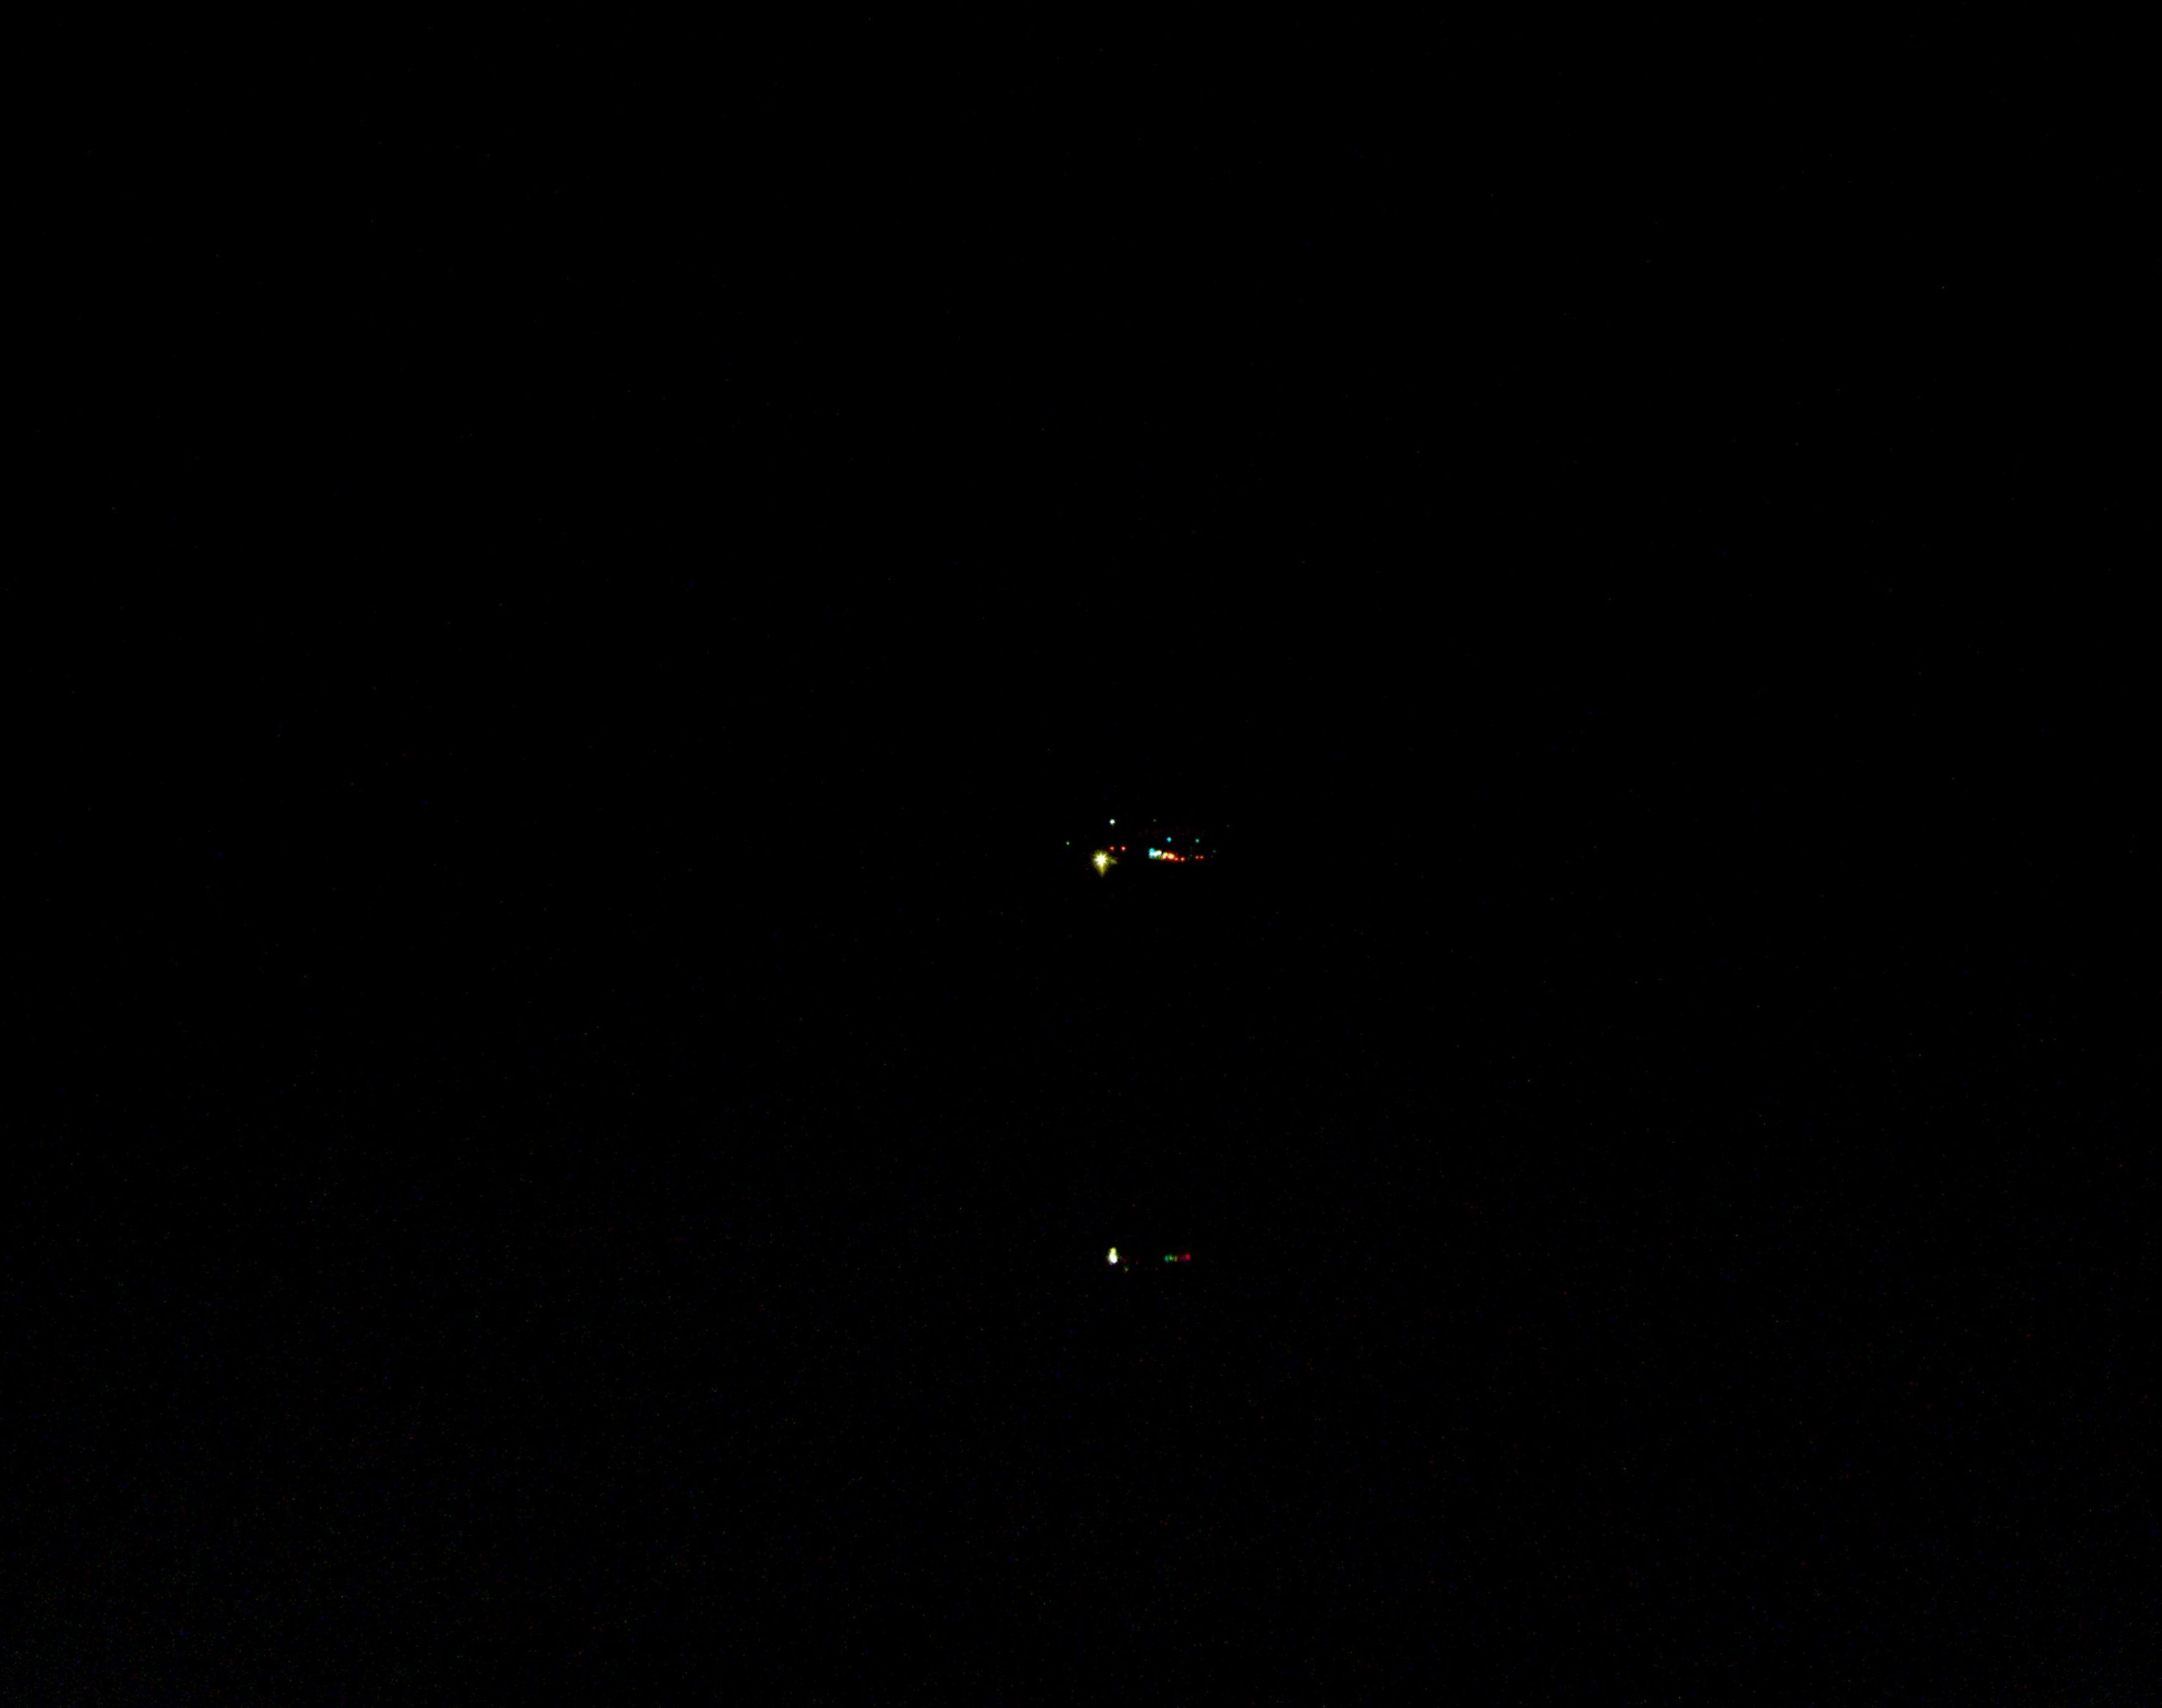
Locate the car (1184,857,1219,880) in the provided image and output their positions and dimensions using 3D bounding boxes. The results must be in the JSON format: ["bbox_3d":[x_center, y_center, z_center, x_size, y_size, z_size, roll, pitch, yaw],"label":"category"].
[{"bbox_3d":[8.185,0.951,52.042,1.724,1.399,4.574,-2,1,1],"label":"car"}]

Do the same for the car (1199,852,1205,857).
[{"bbox_3d":[34.644,0.172,217.716,1.655,1.467,4.003,-2,1,11],"label":"car"}]

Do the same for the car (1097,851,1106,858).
[{"bbox_3d":[4.006,0.018,148.738,1.570,1.336,4.166,-2,0,1],"label":"car"}]

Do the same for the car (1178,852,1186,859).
[{"bbox_3d":[23.086,0.395,174.130,1.723,1.438,4.384,-2,1,9],"label":"car"}]
